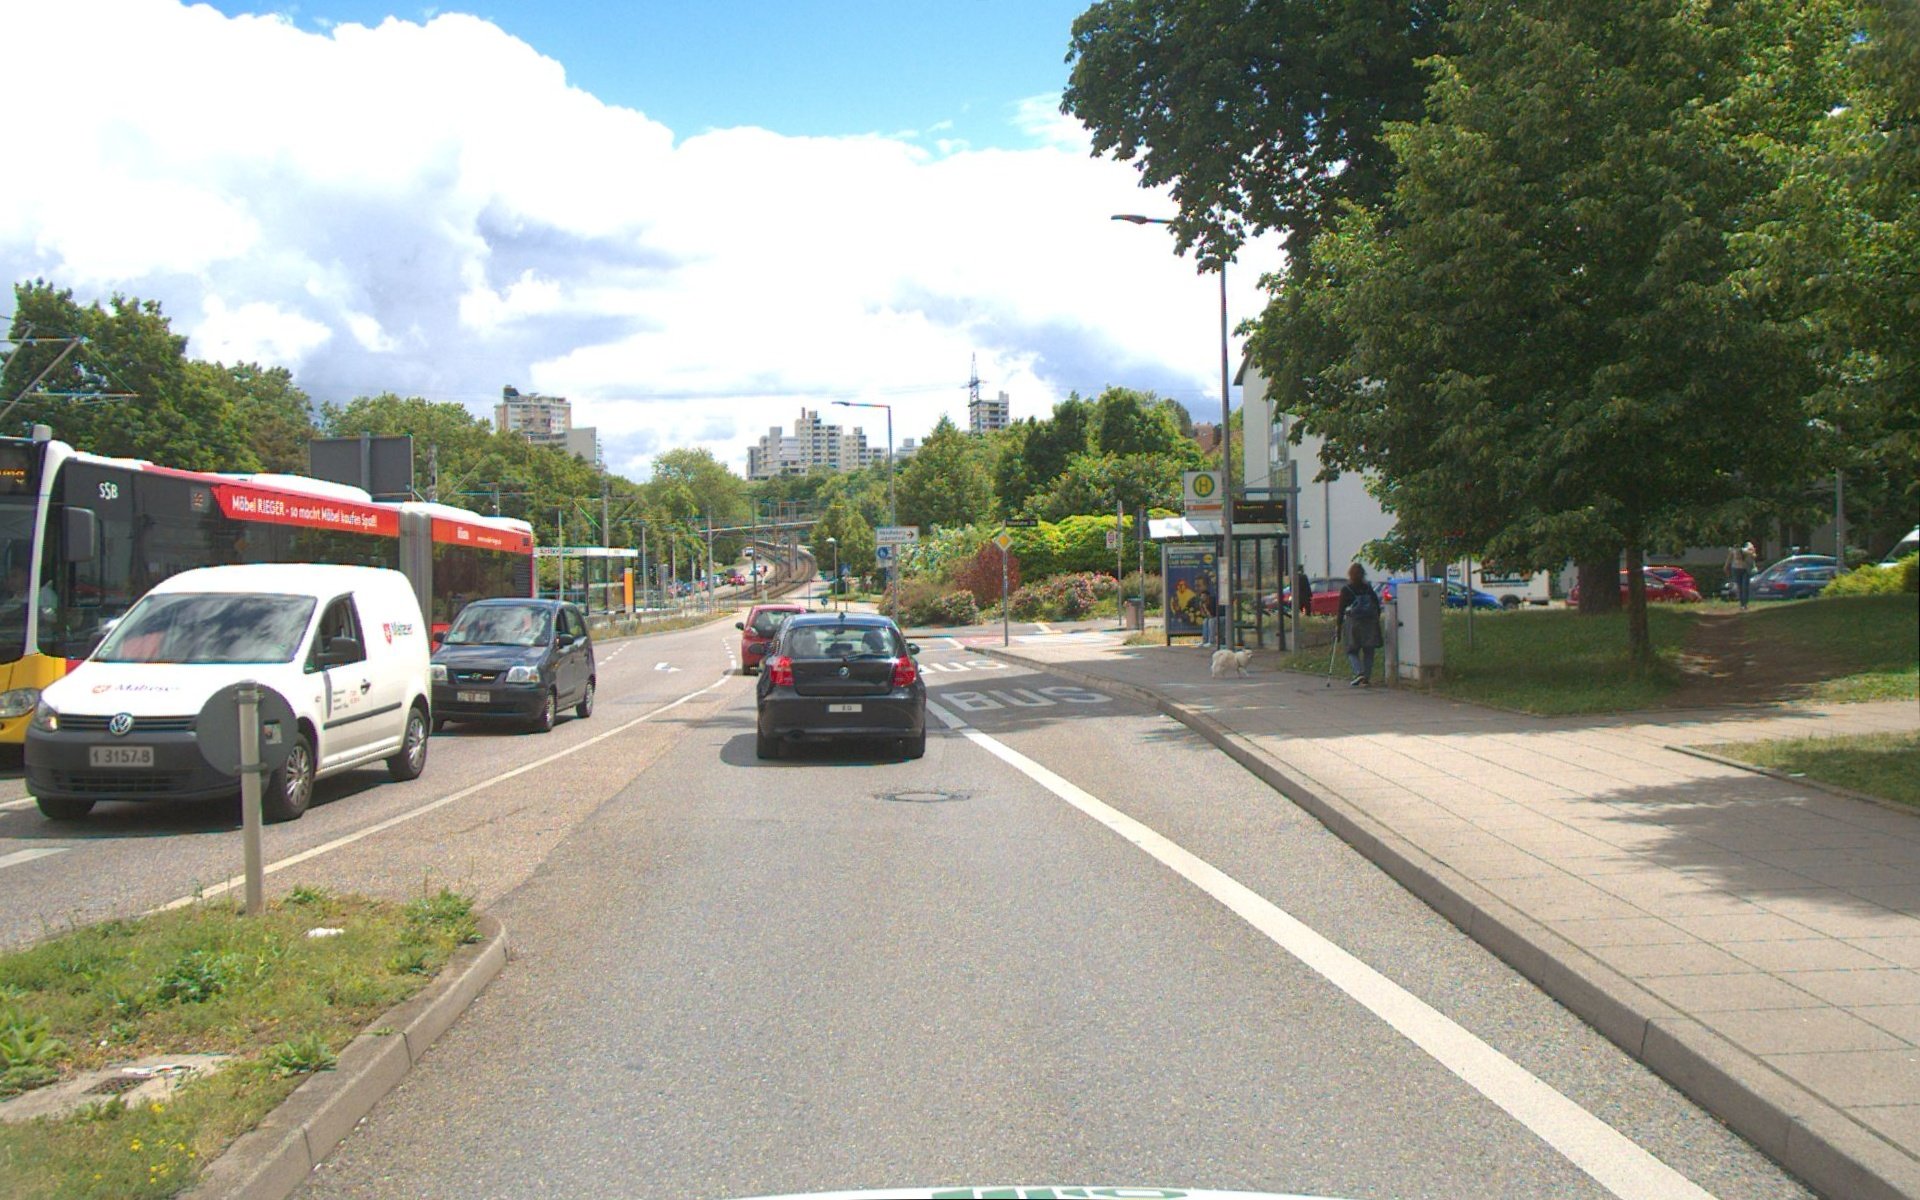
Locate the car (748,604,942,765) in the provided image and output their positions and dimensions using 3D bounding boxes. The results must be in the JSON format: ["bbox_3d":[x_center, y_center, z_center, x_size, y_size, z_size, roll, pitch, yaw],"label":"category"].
[{"bbox_3d":[-1.147,0.816,17.653,1.779,1.445,3.998,-2,0,-2],"label":"car"}]

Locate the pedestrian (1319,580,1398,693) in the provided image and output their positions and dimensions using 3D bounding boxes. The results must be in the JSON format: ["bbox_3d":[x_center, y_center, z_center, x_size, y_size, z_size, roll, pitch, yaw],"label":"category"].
[{"bbox_3d":[5.306,0.478,22.053,0.803,1.449,0.830,-2,-1,-1],"label":"pedestrian"}]

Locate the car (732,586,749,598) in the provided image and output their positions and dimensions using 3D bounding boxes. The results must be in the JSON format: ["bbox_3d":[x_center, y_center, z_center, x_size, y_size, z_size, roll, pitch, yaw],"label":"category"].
[{"bbox_3d":[-27.645,-1.003,208.159,1.684,1.529,2.967,-1,1,0],"label":"car"}]

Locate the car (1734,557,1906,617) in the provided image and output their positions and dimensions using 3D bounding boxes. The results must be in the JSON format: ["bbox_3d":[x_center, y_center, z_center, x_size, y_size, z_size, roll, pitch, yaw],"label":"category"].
[{"bbox_3d":[25.175,-0.392,48.481,3.999,1.586,1.998,-2,0,-5],"label":"car"}]

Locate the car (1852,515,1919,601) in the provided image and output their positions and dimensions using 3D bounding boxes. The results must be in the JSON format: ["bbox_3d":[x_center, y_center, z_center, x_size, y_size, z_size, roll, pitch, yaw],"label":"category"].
[{"bbox_3d":[34.631,-1.521,58.011,5.465,2.916,2.203,-2,0,-2],"label":"car"}]

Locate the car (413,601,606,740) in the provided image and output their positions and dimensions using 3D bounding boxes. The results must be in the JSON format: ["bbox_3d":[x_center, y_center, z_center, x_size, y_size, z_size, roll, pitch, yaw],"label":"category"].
[{"bbox_3d":[-5.535,0.809,20.720,1.499,1.578,3.731,0,0,-2],"label":"car"}]

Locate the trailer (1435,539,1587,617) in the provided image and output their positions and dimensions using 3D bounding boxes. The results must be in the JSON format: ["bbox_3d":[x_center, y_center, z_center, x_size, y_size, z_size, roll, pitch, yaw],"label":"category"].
[{"bbox_3d":[19.009,-0.782,57.188,4.447,2.530,2.220,-1,1,-3],"label":"trailer"}]

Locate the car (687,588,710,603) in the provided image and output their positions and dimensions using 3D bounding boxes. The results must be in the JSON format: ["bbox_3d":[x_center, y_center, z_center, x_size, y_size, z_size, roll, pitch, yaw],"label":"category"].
[{"bbox_3d":[-30.126,-0.545,190.859,1.873,1.588,4.001,-1,1,1],"label":"car"}]

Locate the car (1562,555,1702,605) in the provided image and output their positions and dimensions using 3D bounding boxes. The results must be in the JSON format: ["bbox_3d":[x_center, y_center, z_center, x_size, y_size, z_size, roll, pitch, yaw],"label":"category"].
[{"bbox_3d":[23.289,-0.712,57.431,4.000,1.528,1.999,-3,2,-4],"label":"car"}]

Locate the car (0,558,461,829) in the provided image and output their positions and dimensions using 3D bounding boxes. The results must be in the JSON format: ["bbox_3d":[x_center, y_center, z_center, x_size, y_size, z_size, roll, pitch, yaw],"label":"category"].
[{"bbox_3d":[-5.471,0.600,12.995,1.726,1.691,4.505,-2,0,-1],"label":"car"}]

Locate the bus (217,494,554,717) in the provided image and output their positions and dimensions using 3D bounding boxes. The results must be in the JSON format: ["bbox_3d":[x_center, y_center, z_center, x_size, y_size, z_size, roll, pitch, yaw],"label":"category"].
[{"bbox_3d":[-9.297,0.087,28.075,2.670,3.123,8.961,-1,0,-1],"label":"bus"}]

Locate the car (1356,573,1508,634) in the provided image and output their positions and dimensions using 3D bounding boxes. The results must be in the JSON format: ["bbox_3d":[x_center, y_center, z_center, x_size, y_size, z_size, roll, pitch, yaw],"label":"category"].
[{"bbox_3d":[13.508,0.088,47.477,3.719,1.482,1.895,-3,2,-4],"label":"car"}]

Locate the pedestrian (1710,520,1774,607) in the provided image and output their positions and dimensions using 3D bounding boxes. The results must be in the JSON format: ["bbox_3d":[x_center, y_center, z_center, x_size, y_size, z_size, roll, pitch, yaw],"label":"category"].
[{"bbox_3d":[16.616,-0.774,35.179,0.964,1.791,0.859,-2,-1,8],"label":"pedestrian"}]

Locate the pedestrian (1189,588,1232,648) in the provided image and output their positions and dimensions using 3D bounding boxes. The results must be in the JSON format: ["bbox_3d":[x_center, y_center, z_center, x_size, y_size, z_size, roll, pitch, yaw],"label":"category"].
[{"bbox_3d":[5.492,0.393,36.289,0.810,1.281,0.686,-2,0,1],"label":"pedestrian"}]

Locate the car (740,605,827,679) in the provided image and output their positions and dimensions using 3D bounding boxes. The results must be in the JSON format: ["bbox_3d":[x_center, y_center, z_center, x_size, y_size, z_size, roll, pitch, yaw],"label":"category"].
[{"bbox_3d":[-3.833,0.865,35.944,1.732,1.457,3.474,-2,0,-6],"label":"car"}]

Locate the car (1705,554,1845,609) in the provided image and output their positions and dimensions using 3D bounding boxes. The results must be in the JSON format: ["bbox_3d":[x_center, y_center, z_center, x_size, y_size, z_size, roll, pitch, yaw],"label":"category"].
[{"bbox_3d":[28.362,-0.644,57.626,3.906,1.753,1.908,-2,0,-1],"label":"car"}]

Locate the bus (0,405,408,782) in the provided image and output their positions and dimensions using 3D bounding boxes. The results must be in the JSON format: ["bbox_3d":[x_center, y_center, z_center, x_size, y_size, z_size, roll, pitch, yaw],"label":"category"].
[{"bbox_3d":[-9.181,-0.001,18.747,2.670,3.164,9.701,-1,0,-1],"label":"bus"}]

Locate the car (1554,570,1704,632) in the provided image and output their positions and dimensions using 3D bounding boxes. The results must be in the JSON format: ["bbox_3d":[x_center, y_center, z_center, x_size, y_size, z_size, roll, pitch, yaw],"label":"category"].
[{"bbox_3d":[19.408,0.003,48.094,3.614,1.672,1.828,-1,1,-4],"label":"car"}]

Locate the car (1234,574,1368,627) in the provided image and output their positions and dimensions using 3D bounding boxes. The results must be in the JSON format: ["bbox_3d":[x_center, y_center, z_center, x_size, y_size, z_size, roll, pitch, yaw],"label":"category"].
[{"bbox_3d":[11.610,-0.007,56.489,4.077,1.588,1.998,-2,3,-7],"label":"car"}]
